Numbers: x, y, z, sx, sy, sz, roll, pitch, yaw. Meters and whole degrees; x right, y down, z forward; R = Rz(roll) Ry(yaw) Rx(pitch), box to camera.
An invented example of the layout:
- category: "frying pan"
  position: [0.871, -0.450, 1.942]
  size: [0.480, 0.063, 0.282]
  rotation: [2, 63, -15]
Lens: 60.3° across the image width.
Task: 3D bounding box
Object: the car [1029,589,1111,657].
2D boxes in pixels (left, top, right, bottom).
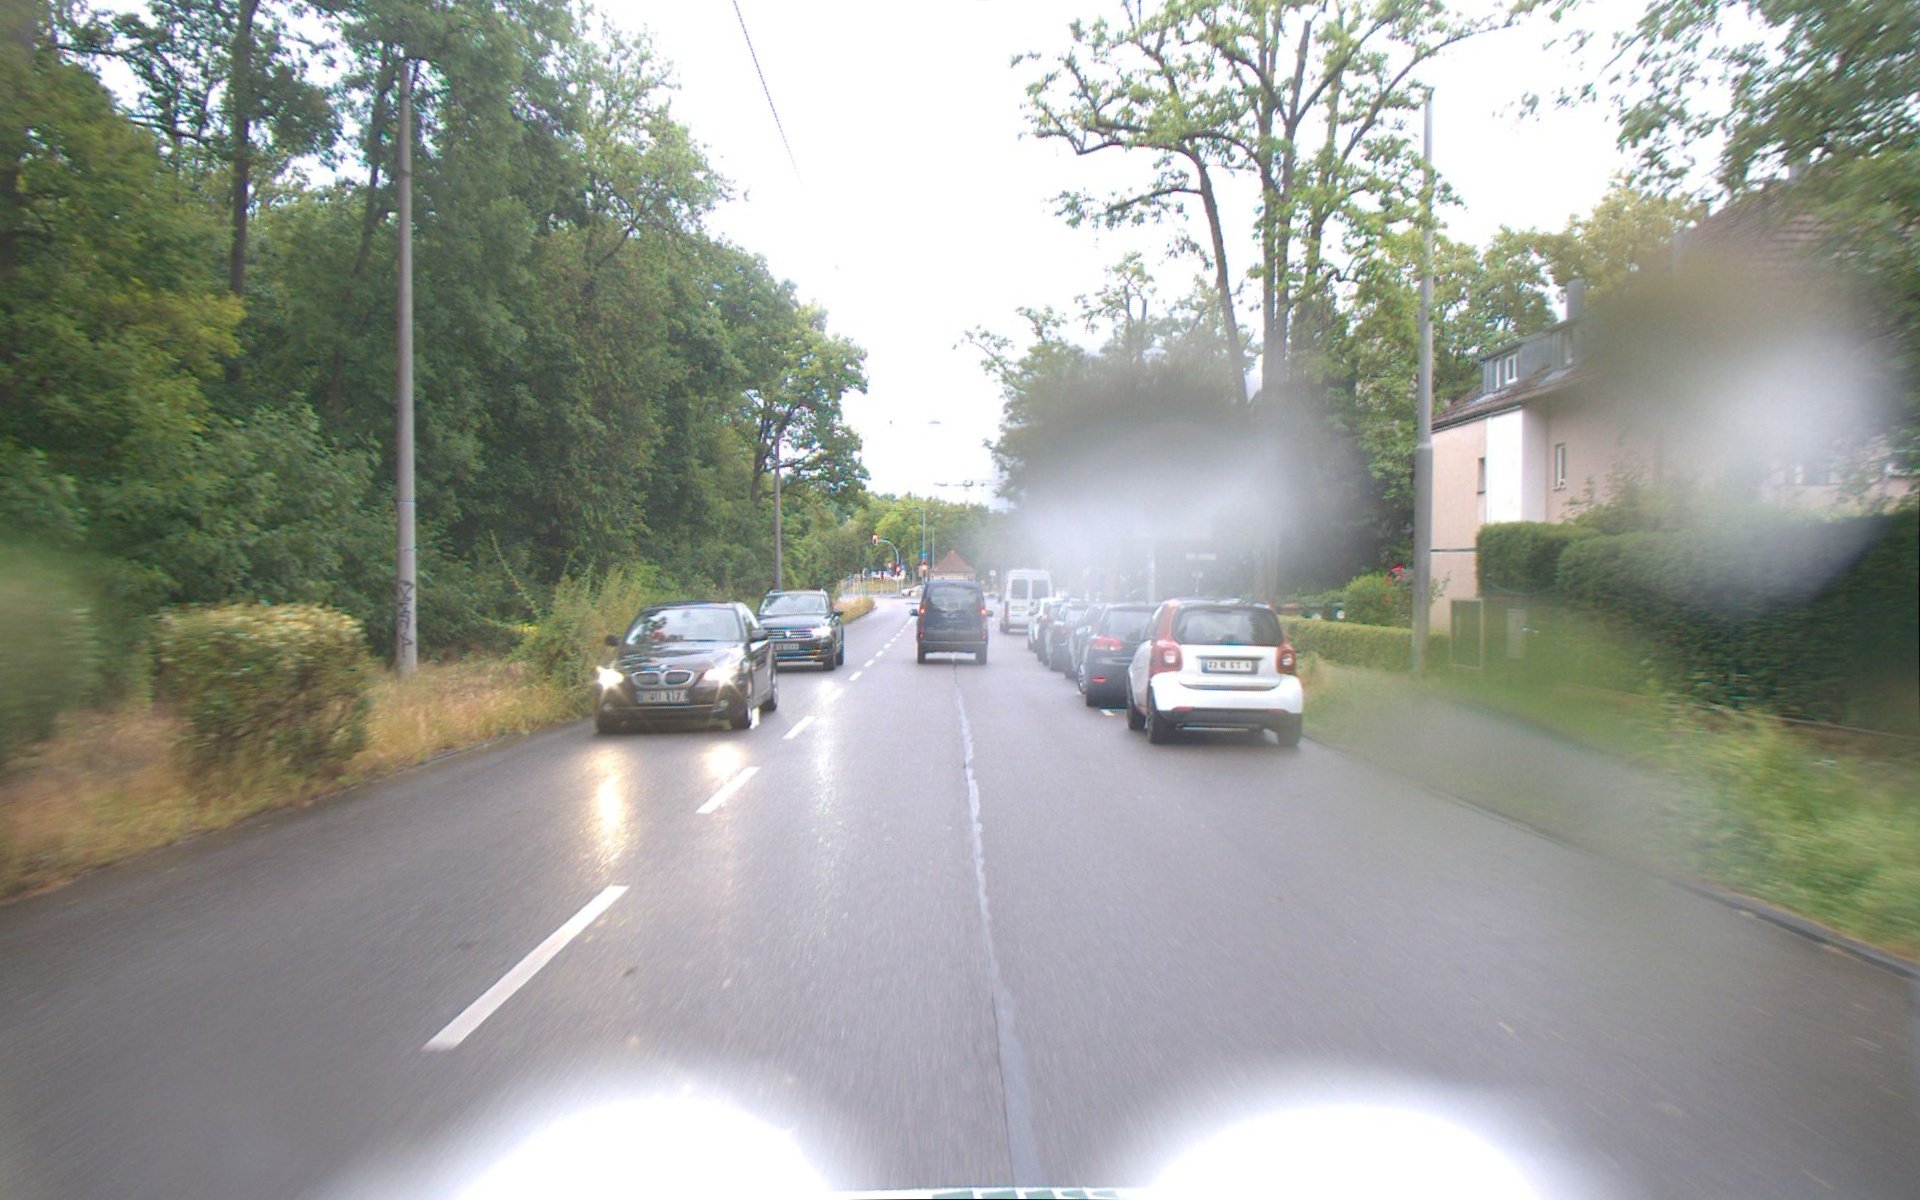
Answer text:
- category: "car"
  position: [2.694, 0.541, 41.127]
  size: [1.663, 1.551, 3.867]
  rotation: [2, 1, -1]

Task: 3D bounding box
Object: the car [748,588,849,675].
- category: "car"
  position: [-3.333, 0.611, 34.764]
  size: [1.688, 1.644, 4.155]
  rotation: [-1, 1, 0]

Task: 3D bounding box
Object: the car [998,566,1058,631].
- category: "car"
  position: [2.673, -0.052, 66.013]
  size: [2.160, 2.492, 4.729]
  rotation: [0, 0, 0]

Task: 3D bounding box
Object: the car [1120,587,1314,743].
- category: "car"
  position: [2.797, 0.659, 18.539]
  size: [1.600, 1.536, 2.957]
  rotation: [2, 1, -2]

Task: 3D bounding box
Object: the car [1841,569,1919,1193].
- category: "car"
  position: [3.217, 0.745, 2.513]
  size: [1.585, 1.534, 3.834]
  rotation: [2, 1, -2]

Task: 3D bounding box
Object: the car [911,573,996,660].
- category: "car"
  position: [-0.189, 0.332, 37.980]
  size: [1.732, 1.862, 3.540]
  rotation: [1, 1, -3]

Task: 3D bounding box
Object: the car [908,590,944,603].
- category: "car"
  position: [-3.967, -0.408, 194.026]
  size: [3.951, 1.400, 1.720]
  rotation: [2, 1, 9]

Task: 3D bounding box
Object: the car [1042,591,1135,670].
- category: "car"
  position: [2.714, 0.606, 35.738]
  size: [1.663, 1.551, 4.211]
  rotation: [2, 1, 0]

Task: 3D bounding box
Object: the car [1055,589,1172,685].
- category: "car"
  position: [2.706, 0.617, 29.894]
  size: [1.663, 1.551, 3.867]
  rotation: [2, 1, -1]

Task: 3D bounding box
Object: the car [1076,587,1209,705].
- category: "car"
  position: [2.661, 0.618, 24.848]
  size: [1.662, 1.551, 3.869]
  rotation: [2, 1, 2]

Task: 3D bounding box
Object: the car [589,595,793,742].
- category: "car"
  position: [-3.179, 0.741, 20.517]
  size: [1.693, 1.468, 5.112]
  rotation: [-1, 1, -1]

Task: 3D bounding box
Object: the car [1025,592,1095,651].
- category: "car"
  position: [2.809, 0.573, 47.273]
  size: [1.663, 1.551, 3.867]
  rotation: [2, 1, -1]
